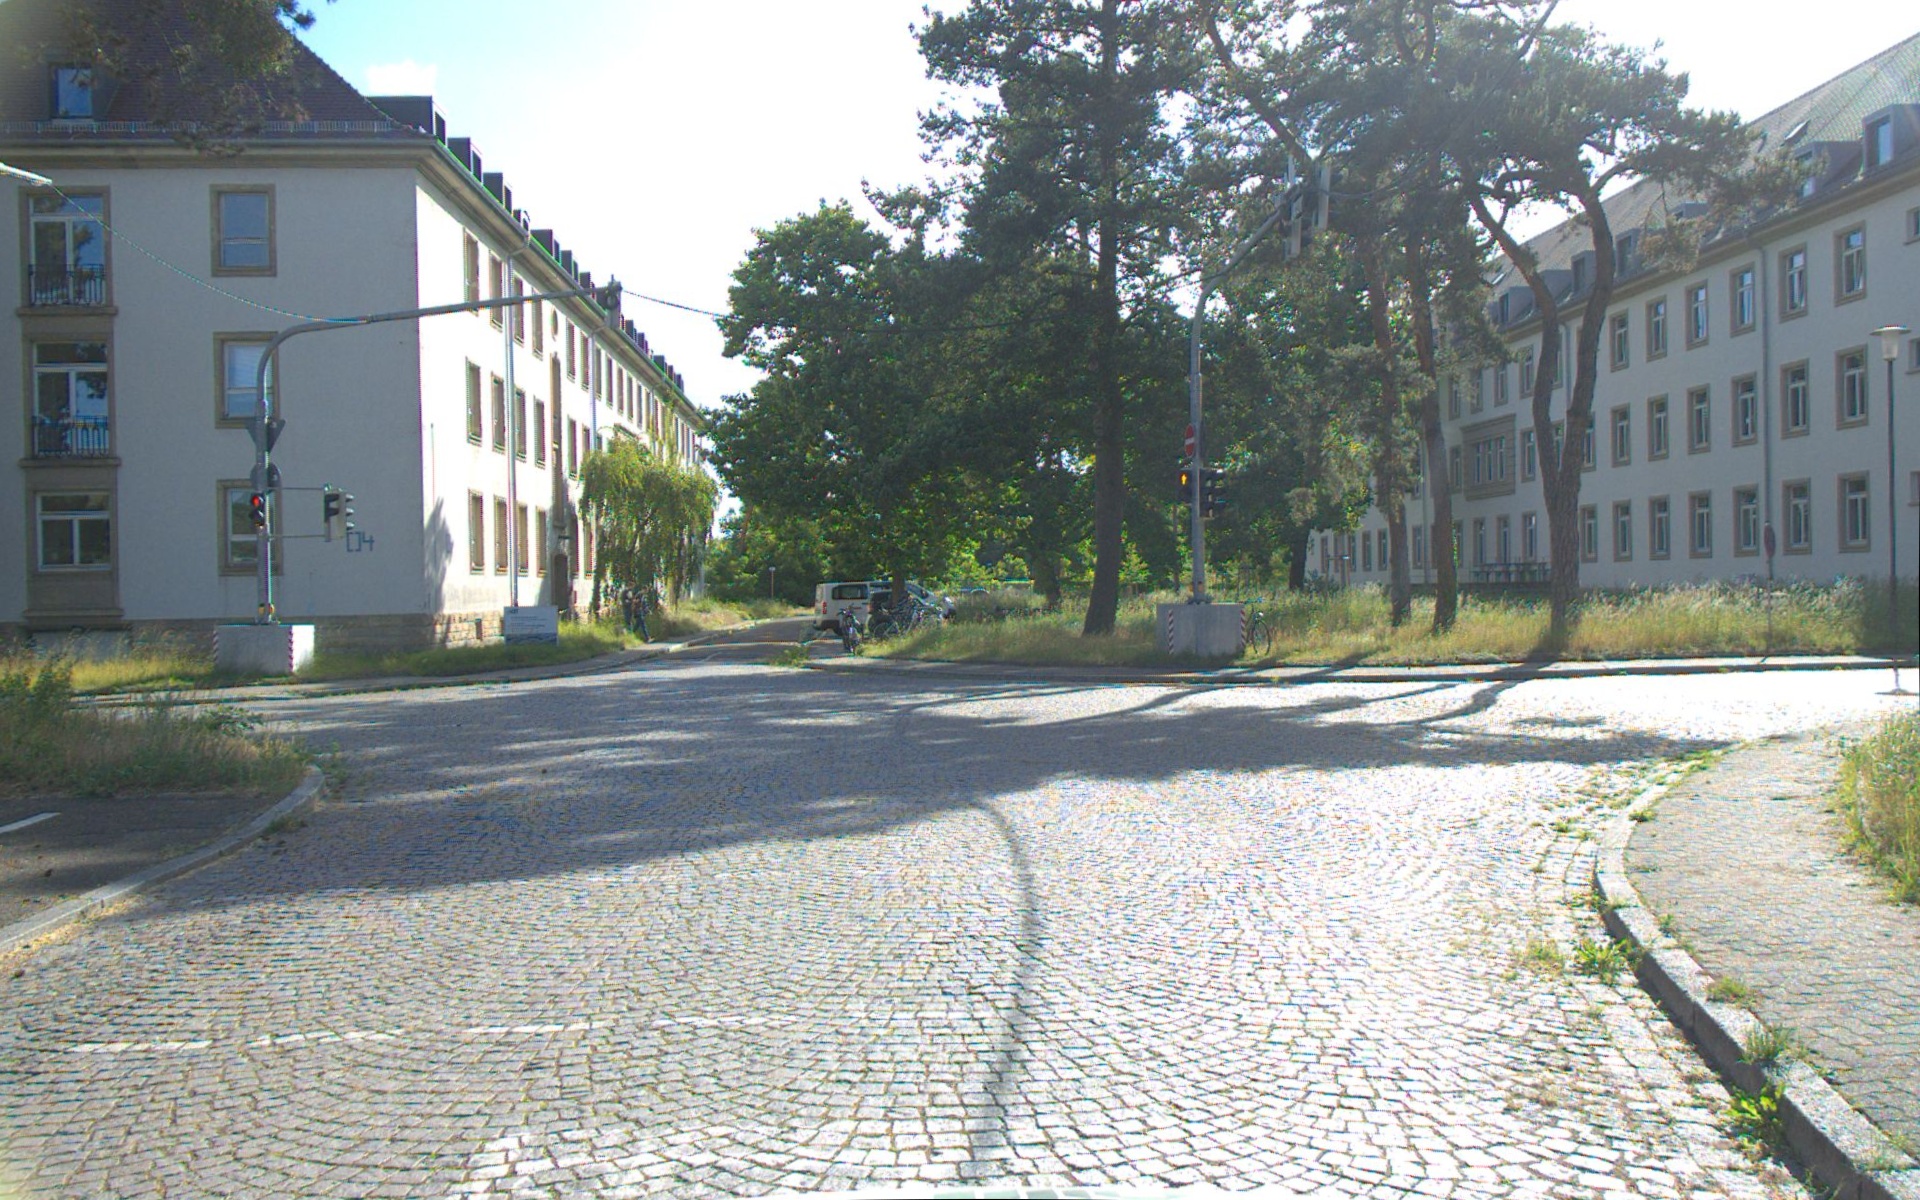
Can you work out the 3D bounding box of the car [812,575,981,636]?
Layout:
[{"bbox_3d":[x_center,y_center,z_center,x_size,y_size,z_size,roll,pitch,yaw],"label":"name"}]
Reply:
[{"bbox_3d":[-2.339,0.189,60.006,5.823,2.049,2.469,-1,0,-10],"label":"car"}]

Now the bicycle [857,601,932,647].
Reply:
[{"bbox_3d":[-1.739,0.631,44.088,1.920,1.149,0.641,-1,0,-30],"label":"bicycle"}]

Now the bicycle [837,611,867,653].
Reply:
[{"bbox_3d":[-2.659,0.770,40.476,0.682,0.988,1.858,0,0,-5],"label":"bicycle"}]

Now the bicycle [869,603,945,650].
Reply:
[{"bbox_3d":[-1.377,0.676,42.891,1.903,1.149,0.749,-1,0,-6],"label":"bicycle"}]

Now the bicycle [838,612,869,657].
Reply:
[{"bbox_3d":[-2.497,0.786,38.549,0.682,0.988,1.858,0,0,-5],"label":"bicycle"}]

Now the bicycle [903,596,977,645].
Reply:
[{"bbox_3d":[-0.531,0.543,43.642,1.903,1.257,0.484,-1,0,-6],"label":"bicycle"}]

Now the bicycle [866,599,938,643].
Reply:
[{"bbox_3d":[-1.593,0.578,45.192,1.905,1.149,0.646,-1,0,-9],"label":"bicycle"}]

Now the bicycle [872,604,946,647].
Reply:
[{"bbox_3d":[-1.302,0.635,42.099,1.819,1.049,0.749,-1,0,-6],"label":"bicycle"}]

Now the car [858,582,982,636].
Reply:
[{"bbox_3d":[-1.369,0.305,55.848,3.916,1.713,1.842,-1,0,-11],"label":"car"}]

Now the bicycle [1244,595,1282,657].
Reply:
[{"bbox_3d":[5.554,0.472,30.348,0.456,1.099,1.174,-1,0,0],"label":"bicycle"}]

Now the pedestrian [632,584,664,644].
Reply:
[{"bbox_3d":[-9.727,0.431,51.543,0.751,1.849,0.683,-1,0,8],"label":"pedestrian"}]

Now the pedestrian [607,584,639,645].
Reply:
[{"bbox_3d":[-10.344,0.450,50.738,0.794,1.849,0.555,-1,0,8],"label":"pedestrian"}]
